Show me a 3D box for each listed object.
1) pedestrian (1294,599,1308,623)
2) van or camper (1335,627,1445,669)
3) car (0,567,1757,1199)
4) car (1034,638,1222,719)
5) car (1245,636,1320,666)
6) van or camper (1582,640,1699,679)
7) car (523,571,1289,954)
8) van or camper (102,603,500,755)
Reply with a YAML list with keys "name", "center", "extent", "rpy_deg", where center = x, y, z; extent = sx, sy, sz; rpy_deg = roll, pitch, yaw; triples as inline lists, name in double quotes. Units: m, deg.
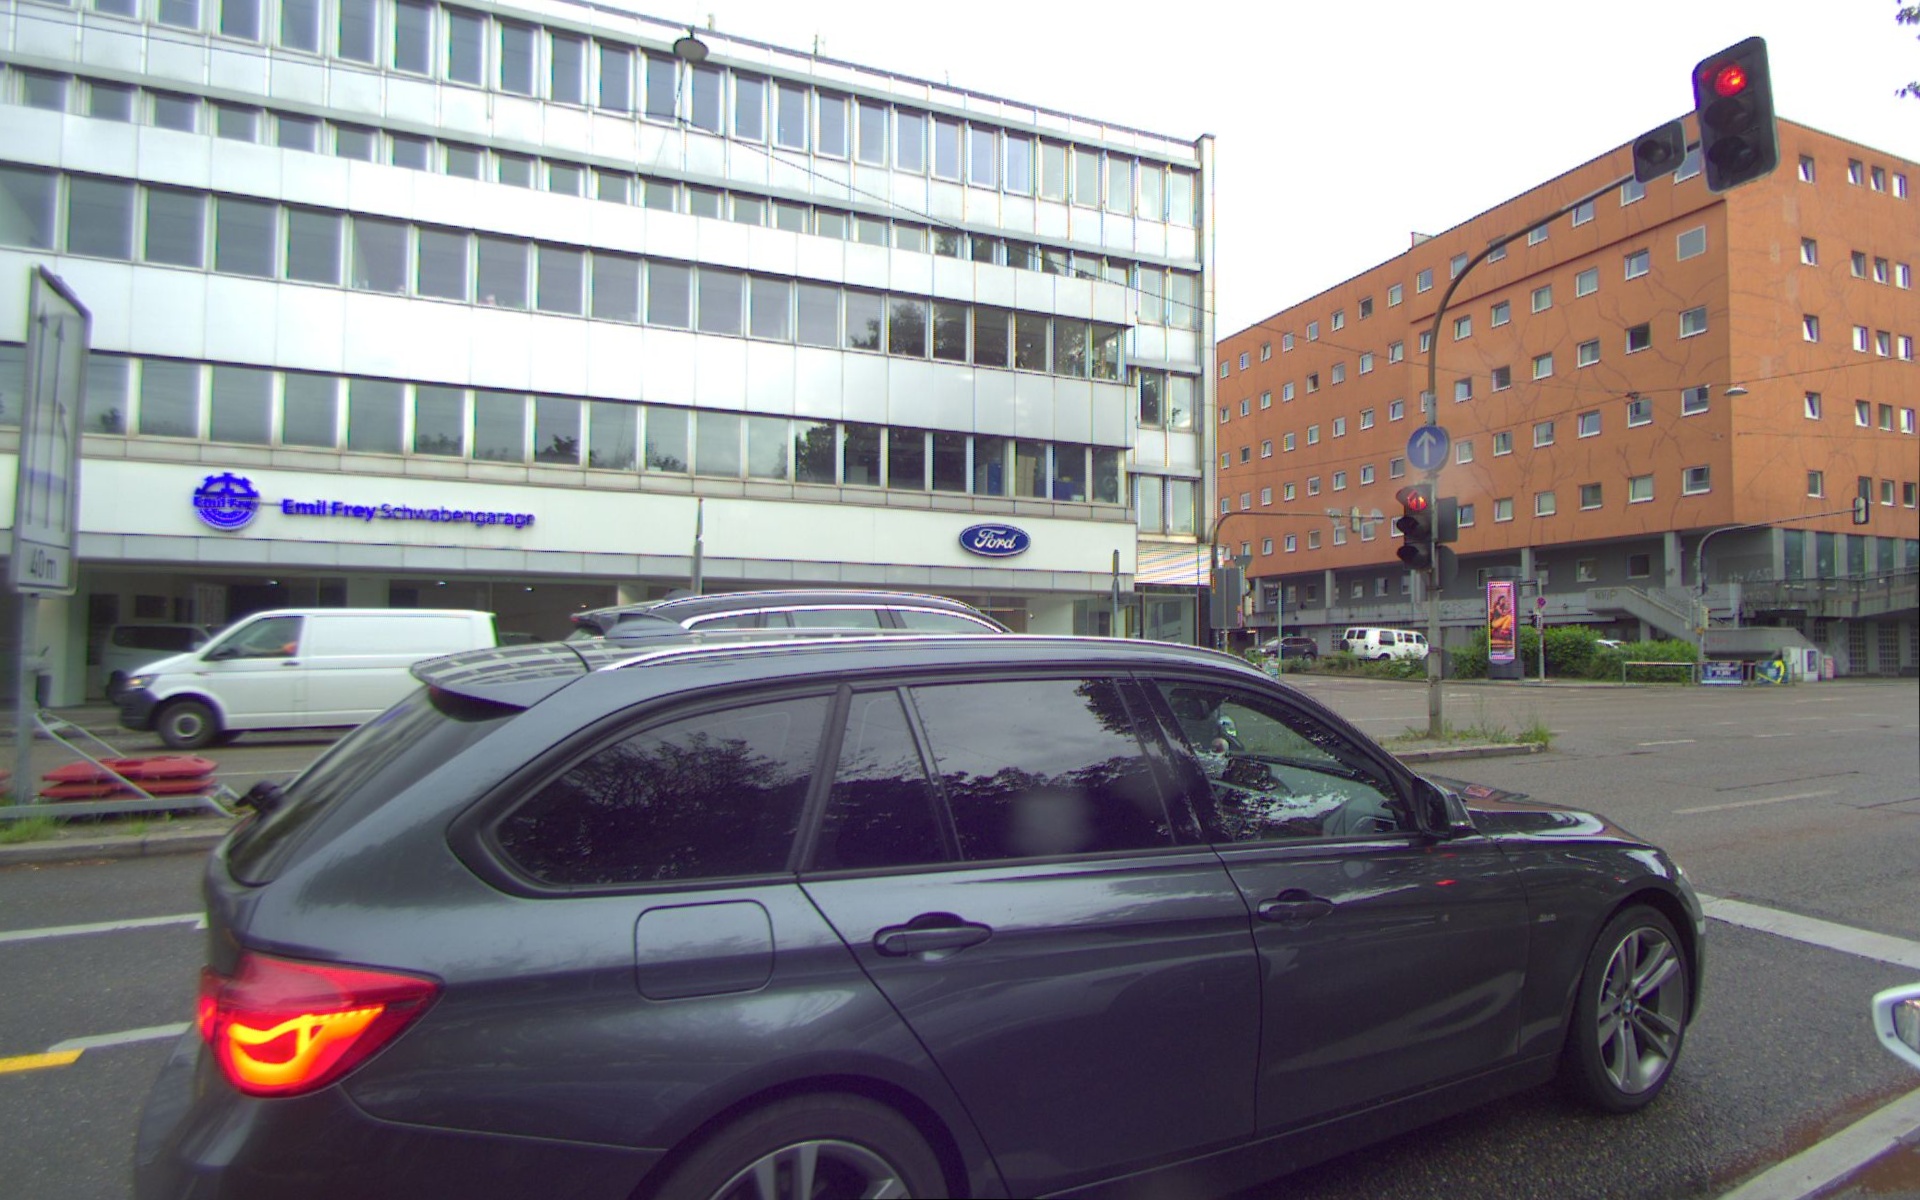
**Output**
- name: "pedestrian"
  center: [27.265, 0.886, 80.339]
  extent: [0.714, 1.864, 0.761]
  rpy_deg: [2, 0, -21]
- name: "van or camper"
  center: [22.439, 2.520, 52.416]
  extent: [5.376, 2.004, 2.121]
  rpy_deg: [2, 0, -23]
- name: "car"
  center: [0.271, 0.788, 2.997]
  extent: [4.424, 1.477, 1.769]
  rpy_deg: [2, -3, -30]
- name: "car"
  center: [3.621, 1.660, 21.489]
  extent: [3.725, 1.551, 1.791]
  rpy_deg: [1, -6, -34]
- name: "car"
  center: [18.973, 2.994, 59.016]
  extent: [4.027, 1.633, 1.706]
  rpy_deg: [2, 0, -23]
- name: "van or camper"
  center: [30.441, 2.623, 45.058]
  extent: [1.887, 1.648, 3.978]
  rpy_deg: [1, -2, -23]
- name: "car"
  center: [-0.247, 0.767, 6.235]
  extent: [4.389, 1.678, 1.802]
  rpy_deg: [2, 0, -28]
- name: "van or camper"
  center: [-9.346, 1.104, 14.821]
  extent: [4.621, 1.949, 1.930]
  rpy_deg: [1, -2, -26]
